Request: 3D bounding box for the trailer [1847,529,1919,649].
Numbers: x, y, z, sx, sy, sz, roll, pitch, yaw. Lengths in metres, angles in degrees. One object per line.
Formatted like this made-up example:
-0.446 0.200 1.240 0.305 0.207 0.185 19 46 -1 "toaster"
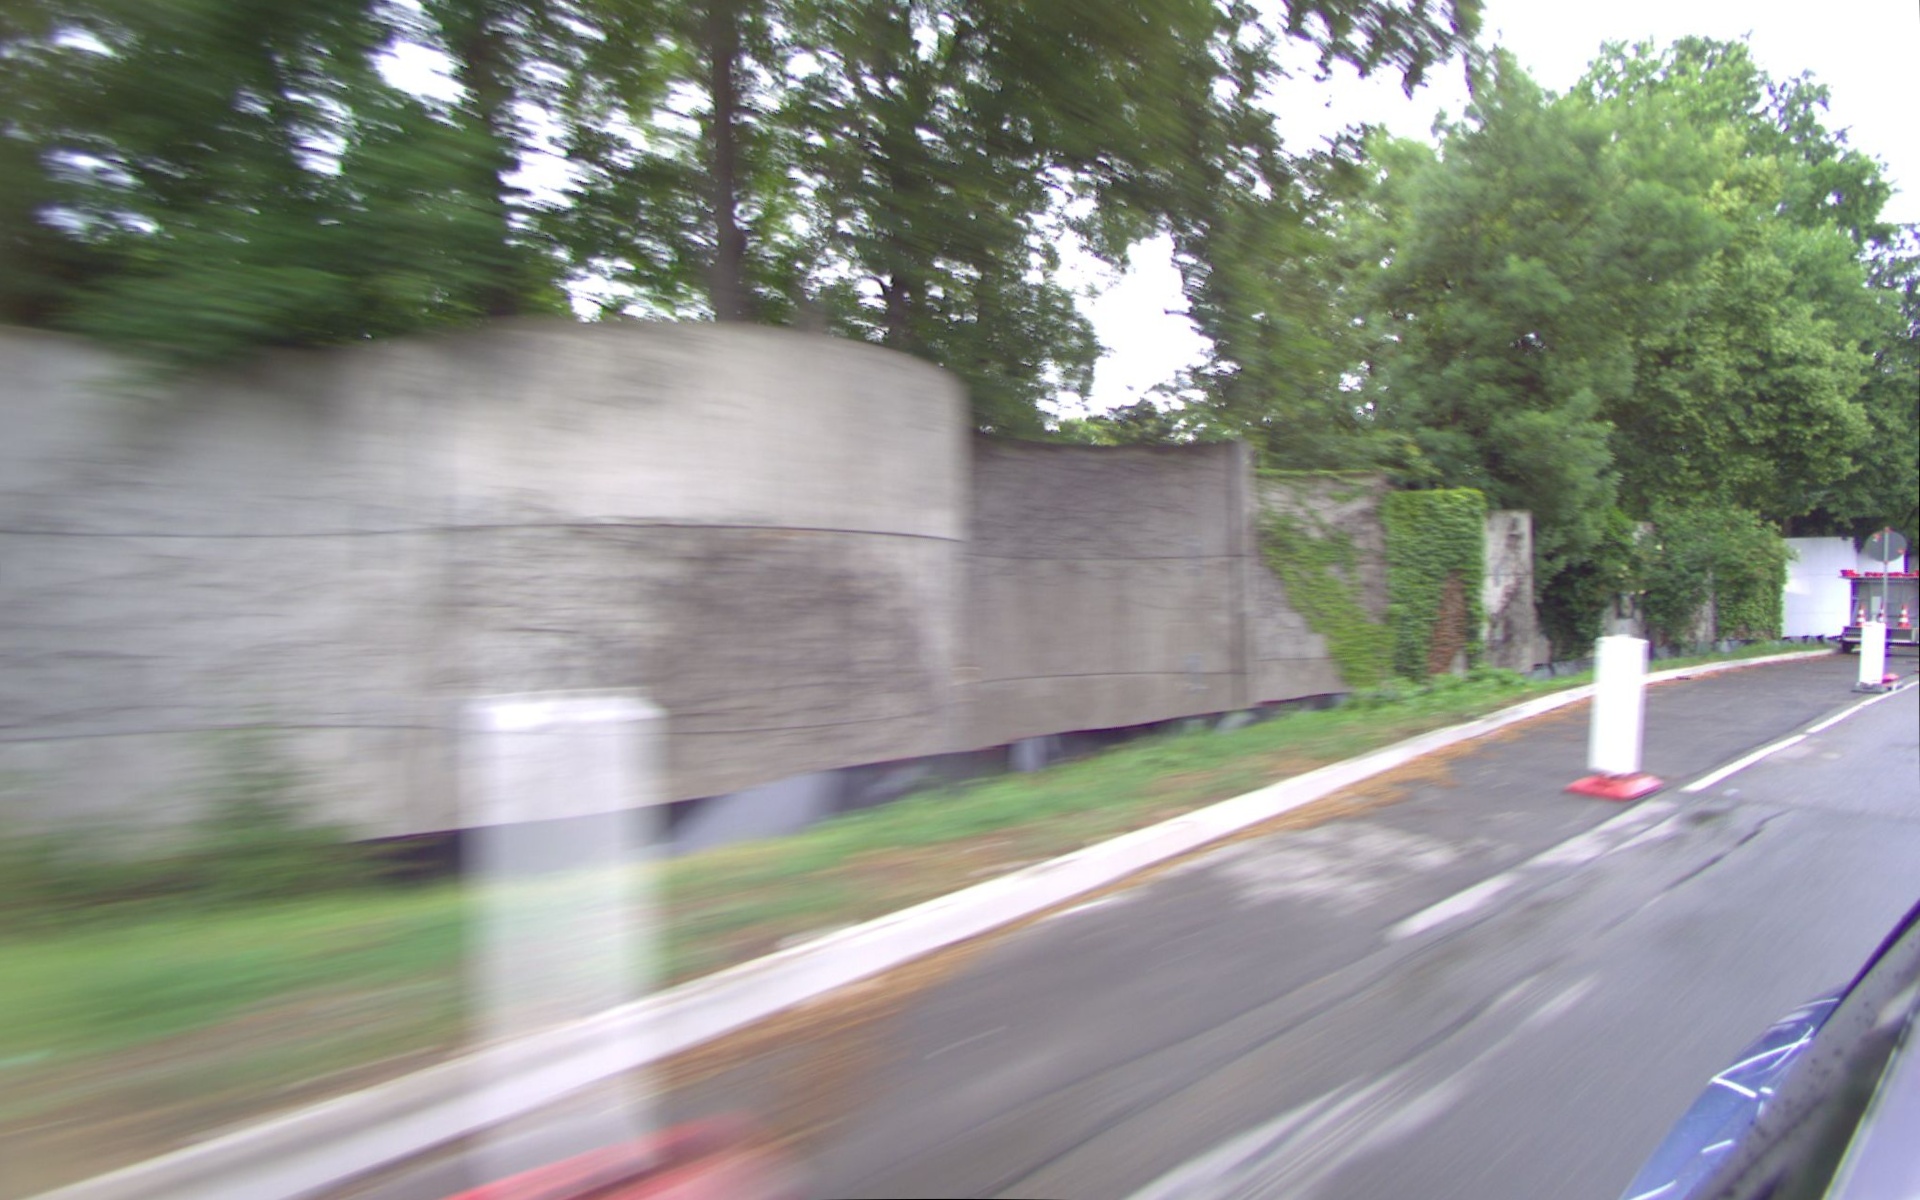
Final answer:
31.157 -0.326 32.713 5.845 3.634 2.316 0 0 -34 "trailer"
